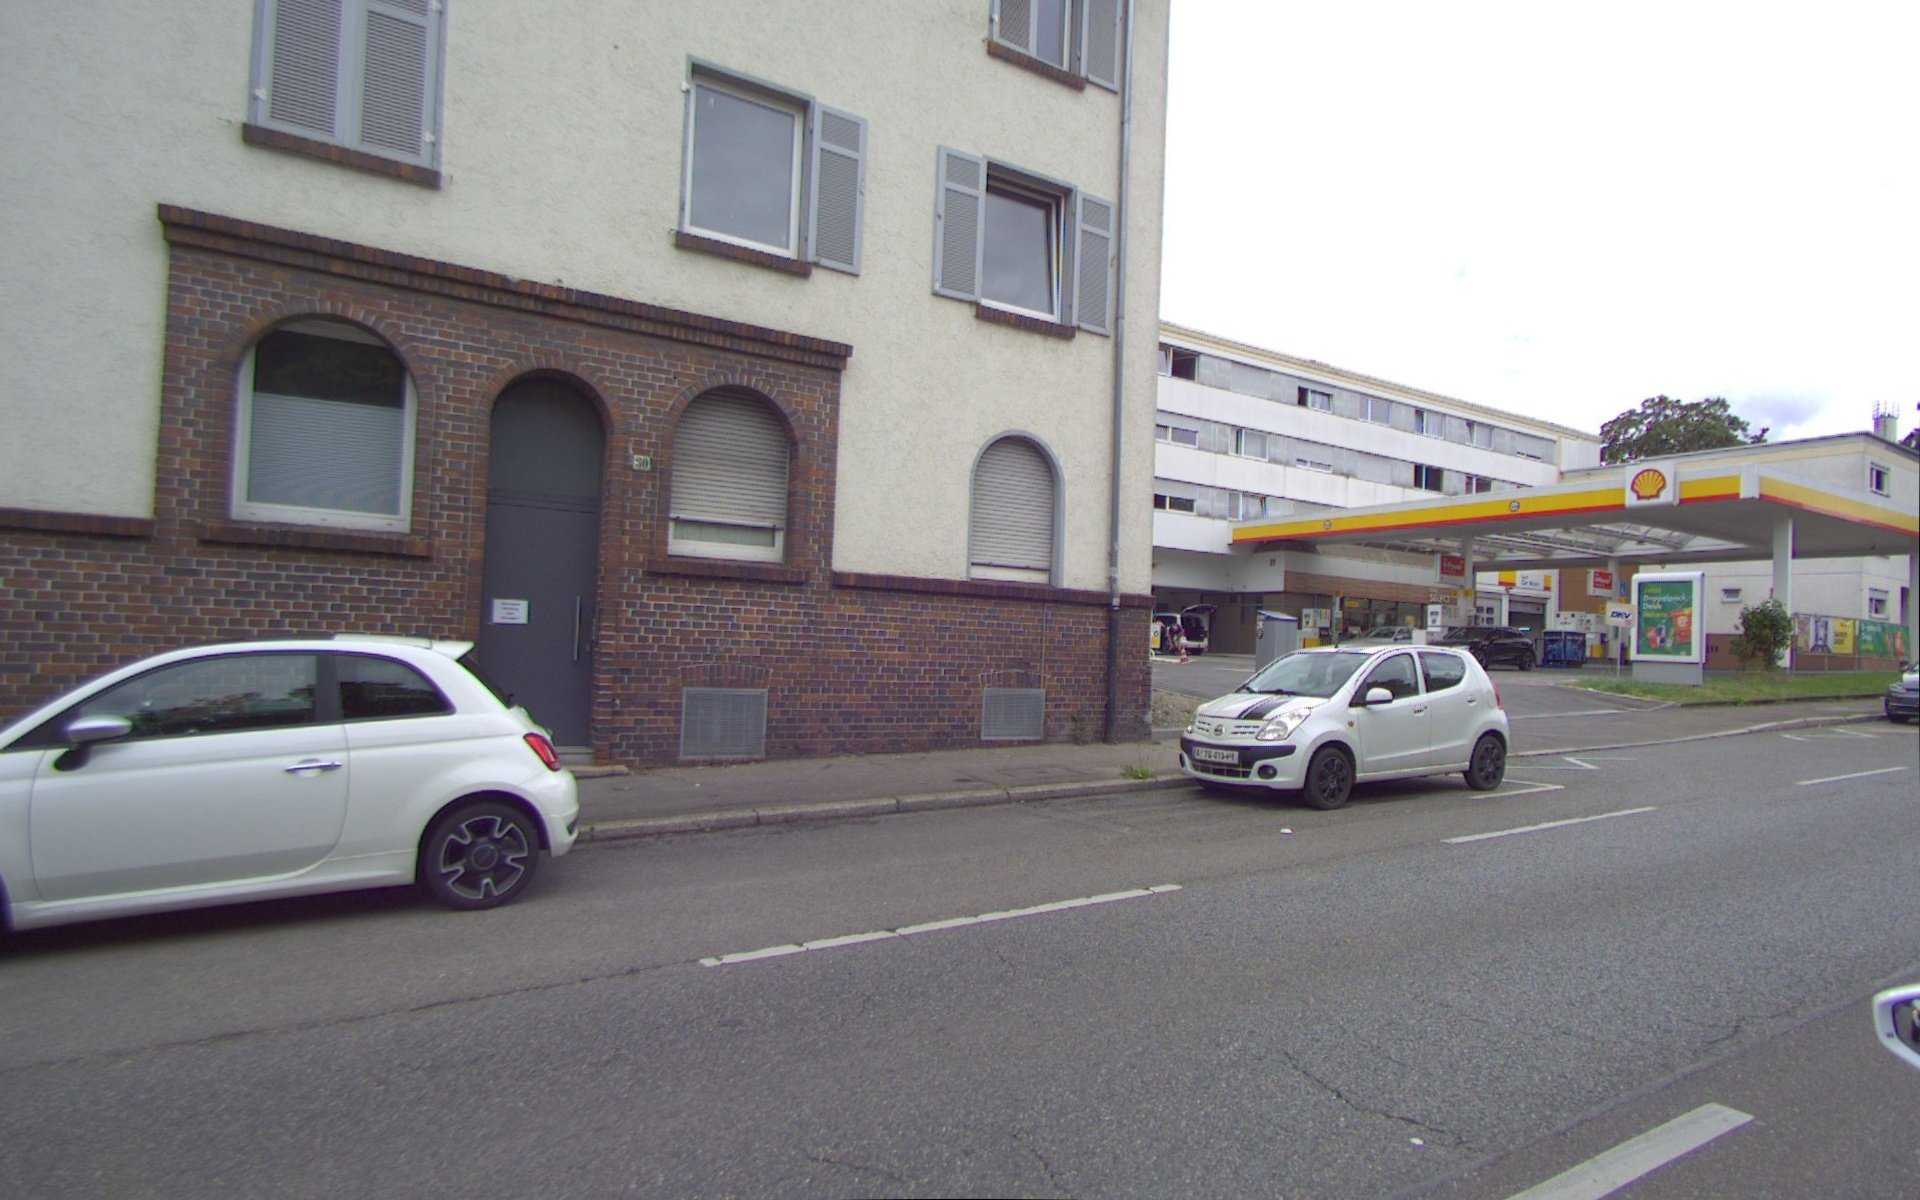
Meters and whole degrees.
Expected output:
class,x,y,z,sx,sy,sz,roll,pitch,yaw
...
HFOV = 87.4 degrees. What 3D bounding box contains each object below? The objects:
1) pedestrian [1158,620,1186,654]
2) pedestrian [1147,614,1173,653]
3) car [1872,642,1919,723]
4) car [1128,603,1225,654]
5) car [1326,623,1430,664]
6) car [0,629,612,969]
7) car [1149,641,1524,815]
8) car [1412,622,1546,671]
class,x,y,z,sx,sy,sz,roll,pitch,yaw
pedestrian,8.288,1.442,39.267,0.792,1.332,0.659,1,0,-32
pedestrian,8.090,1.365,40.720,0.656,1.537,0.795,1,0,-27
car,19.352,1.542,19.117,4.169,1.469,1.782,2,-3,-30
car,8.906,1.165,41.569,1.814,1.989,3.877,2,-1,-30
car,15.512,1.602,37.272,3.594,1.439,1.789,2,-1,-30
car,-3.921,0.917,5.519,3.562,1.494,1.540,2,-2,-31
car,3.819,1.146,10.088,3.621,1.444,1.612,1,-2,-30
car,16.758,1.488,32.406,4.365,1.439,1.789,2,-1,-30
